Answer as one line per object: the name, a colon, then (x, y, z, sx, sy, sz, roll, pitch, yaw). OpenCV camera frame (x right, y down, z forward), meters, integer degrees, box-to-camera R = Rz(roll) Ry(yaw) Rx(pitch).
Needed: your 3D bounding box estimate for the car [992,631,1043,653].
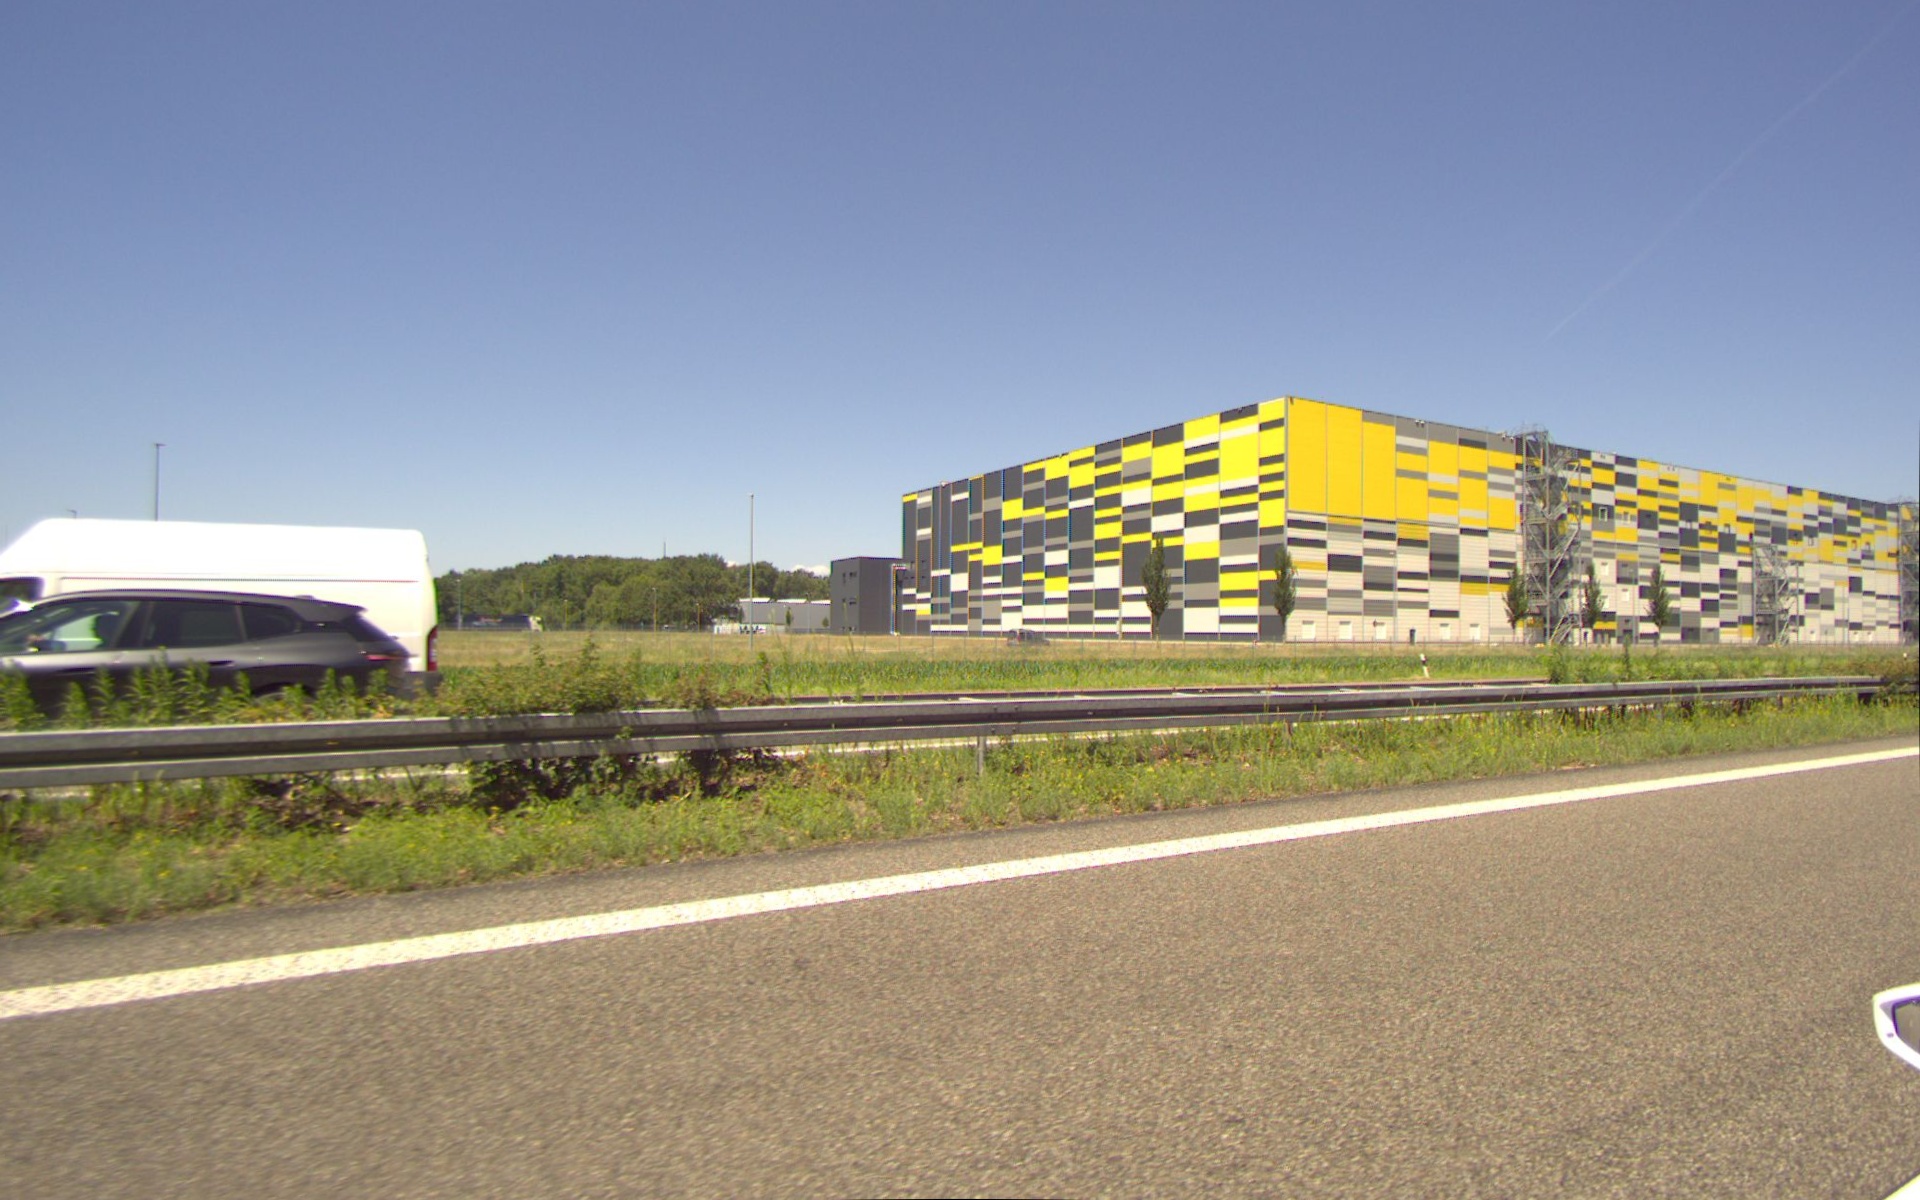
car: (4.815, 3.500, 83.623, 4.066, 1.750, 1.676, 2, -2, -32)

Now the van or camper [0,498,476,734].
van or camper: (-9.674, 0.279, 12.804, 6.106, 2.567, 2.410, 2, -4, -31)

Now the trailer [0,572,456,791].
trailer: (-7.536, 0.714, 9.525, 4.801, 1.781, 1.984, 2, -2, -31)
